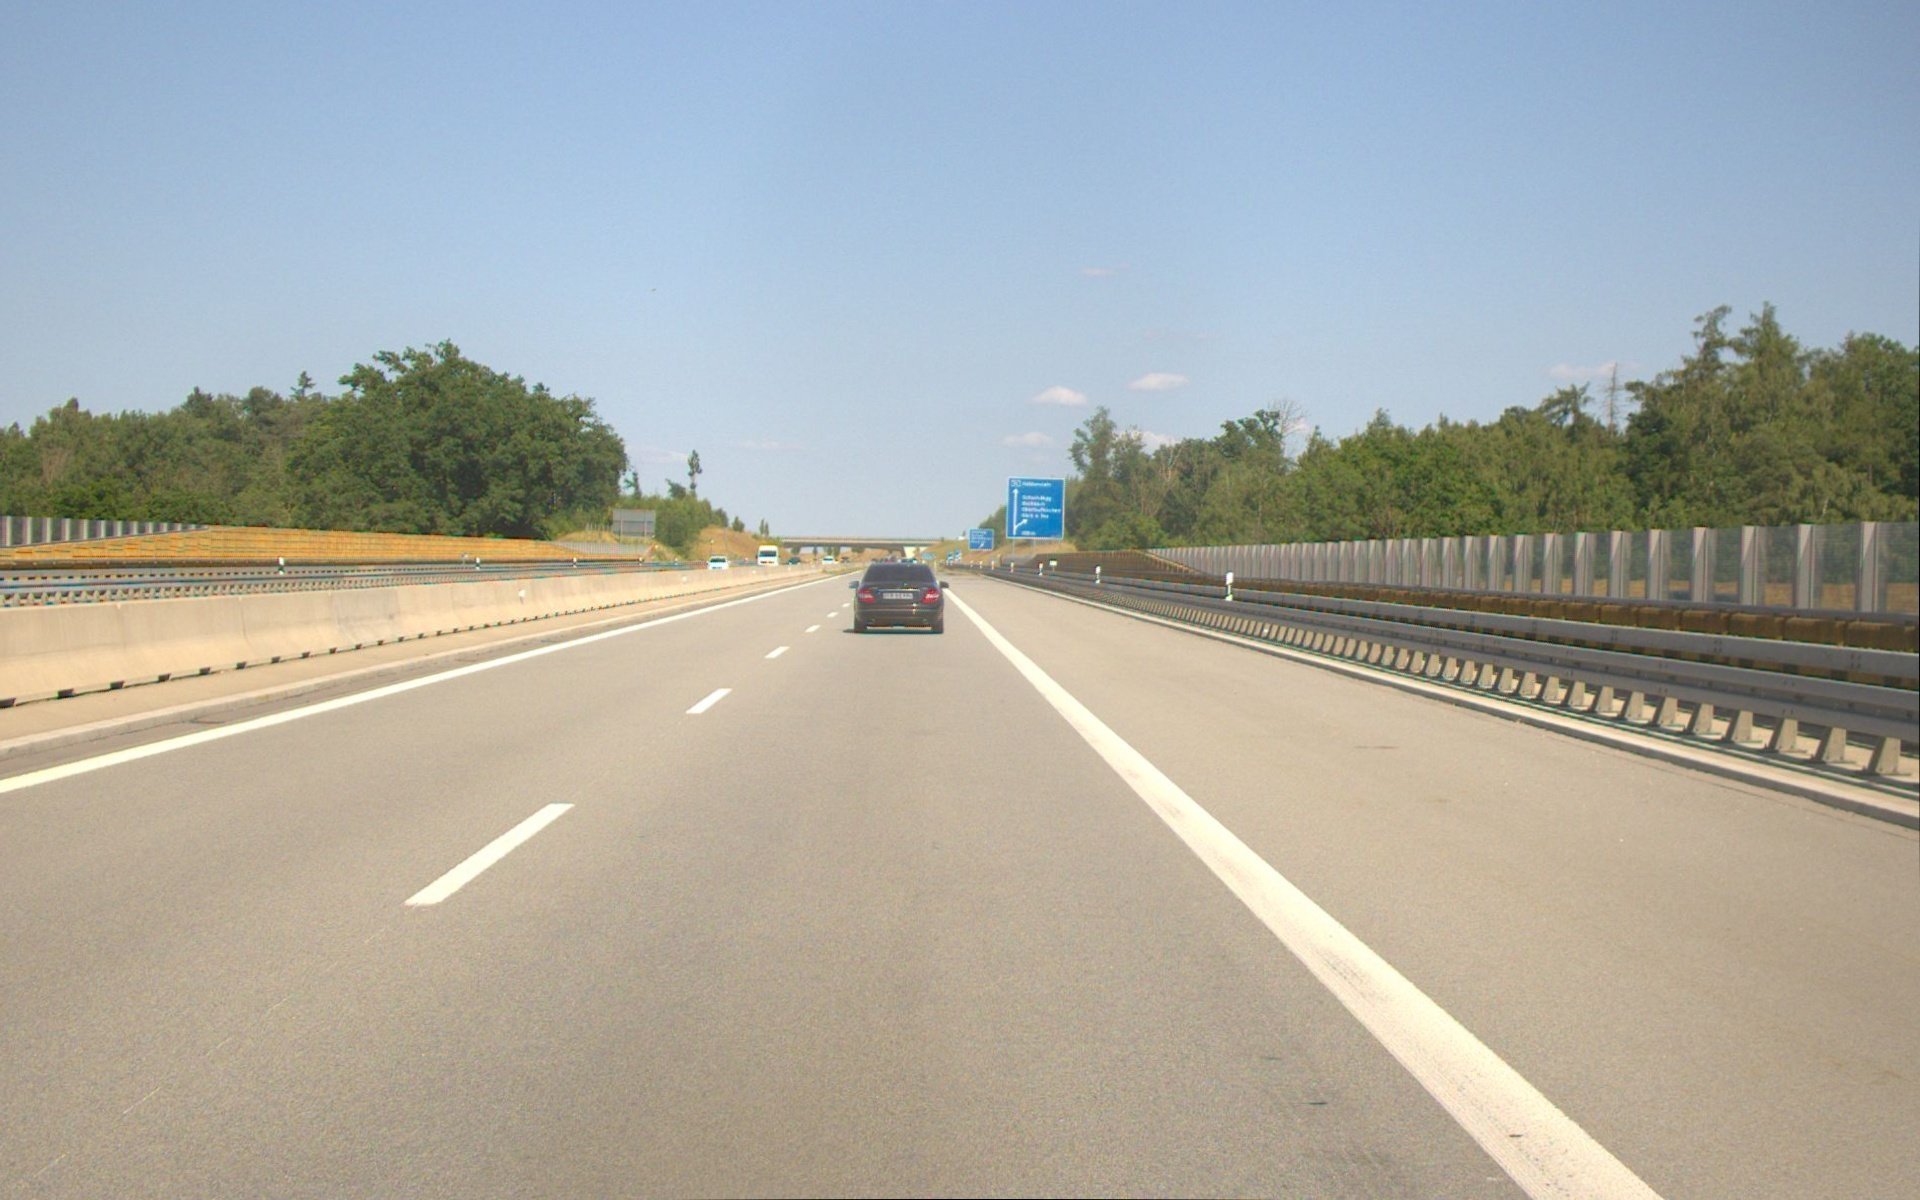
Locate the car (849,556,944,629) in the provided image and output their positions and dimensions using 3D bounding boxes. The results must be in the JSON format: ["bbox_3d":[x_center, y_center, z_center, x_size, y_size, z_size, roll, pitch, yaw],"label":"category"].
[{"bbox_3d":[-1.232,-0.167,67.959,1.790,1.369,3.917,1,1,0],"label":"car"}]
